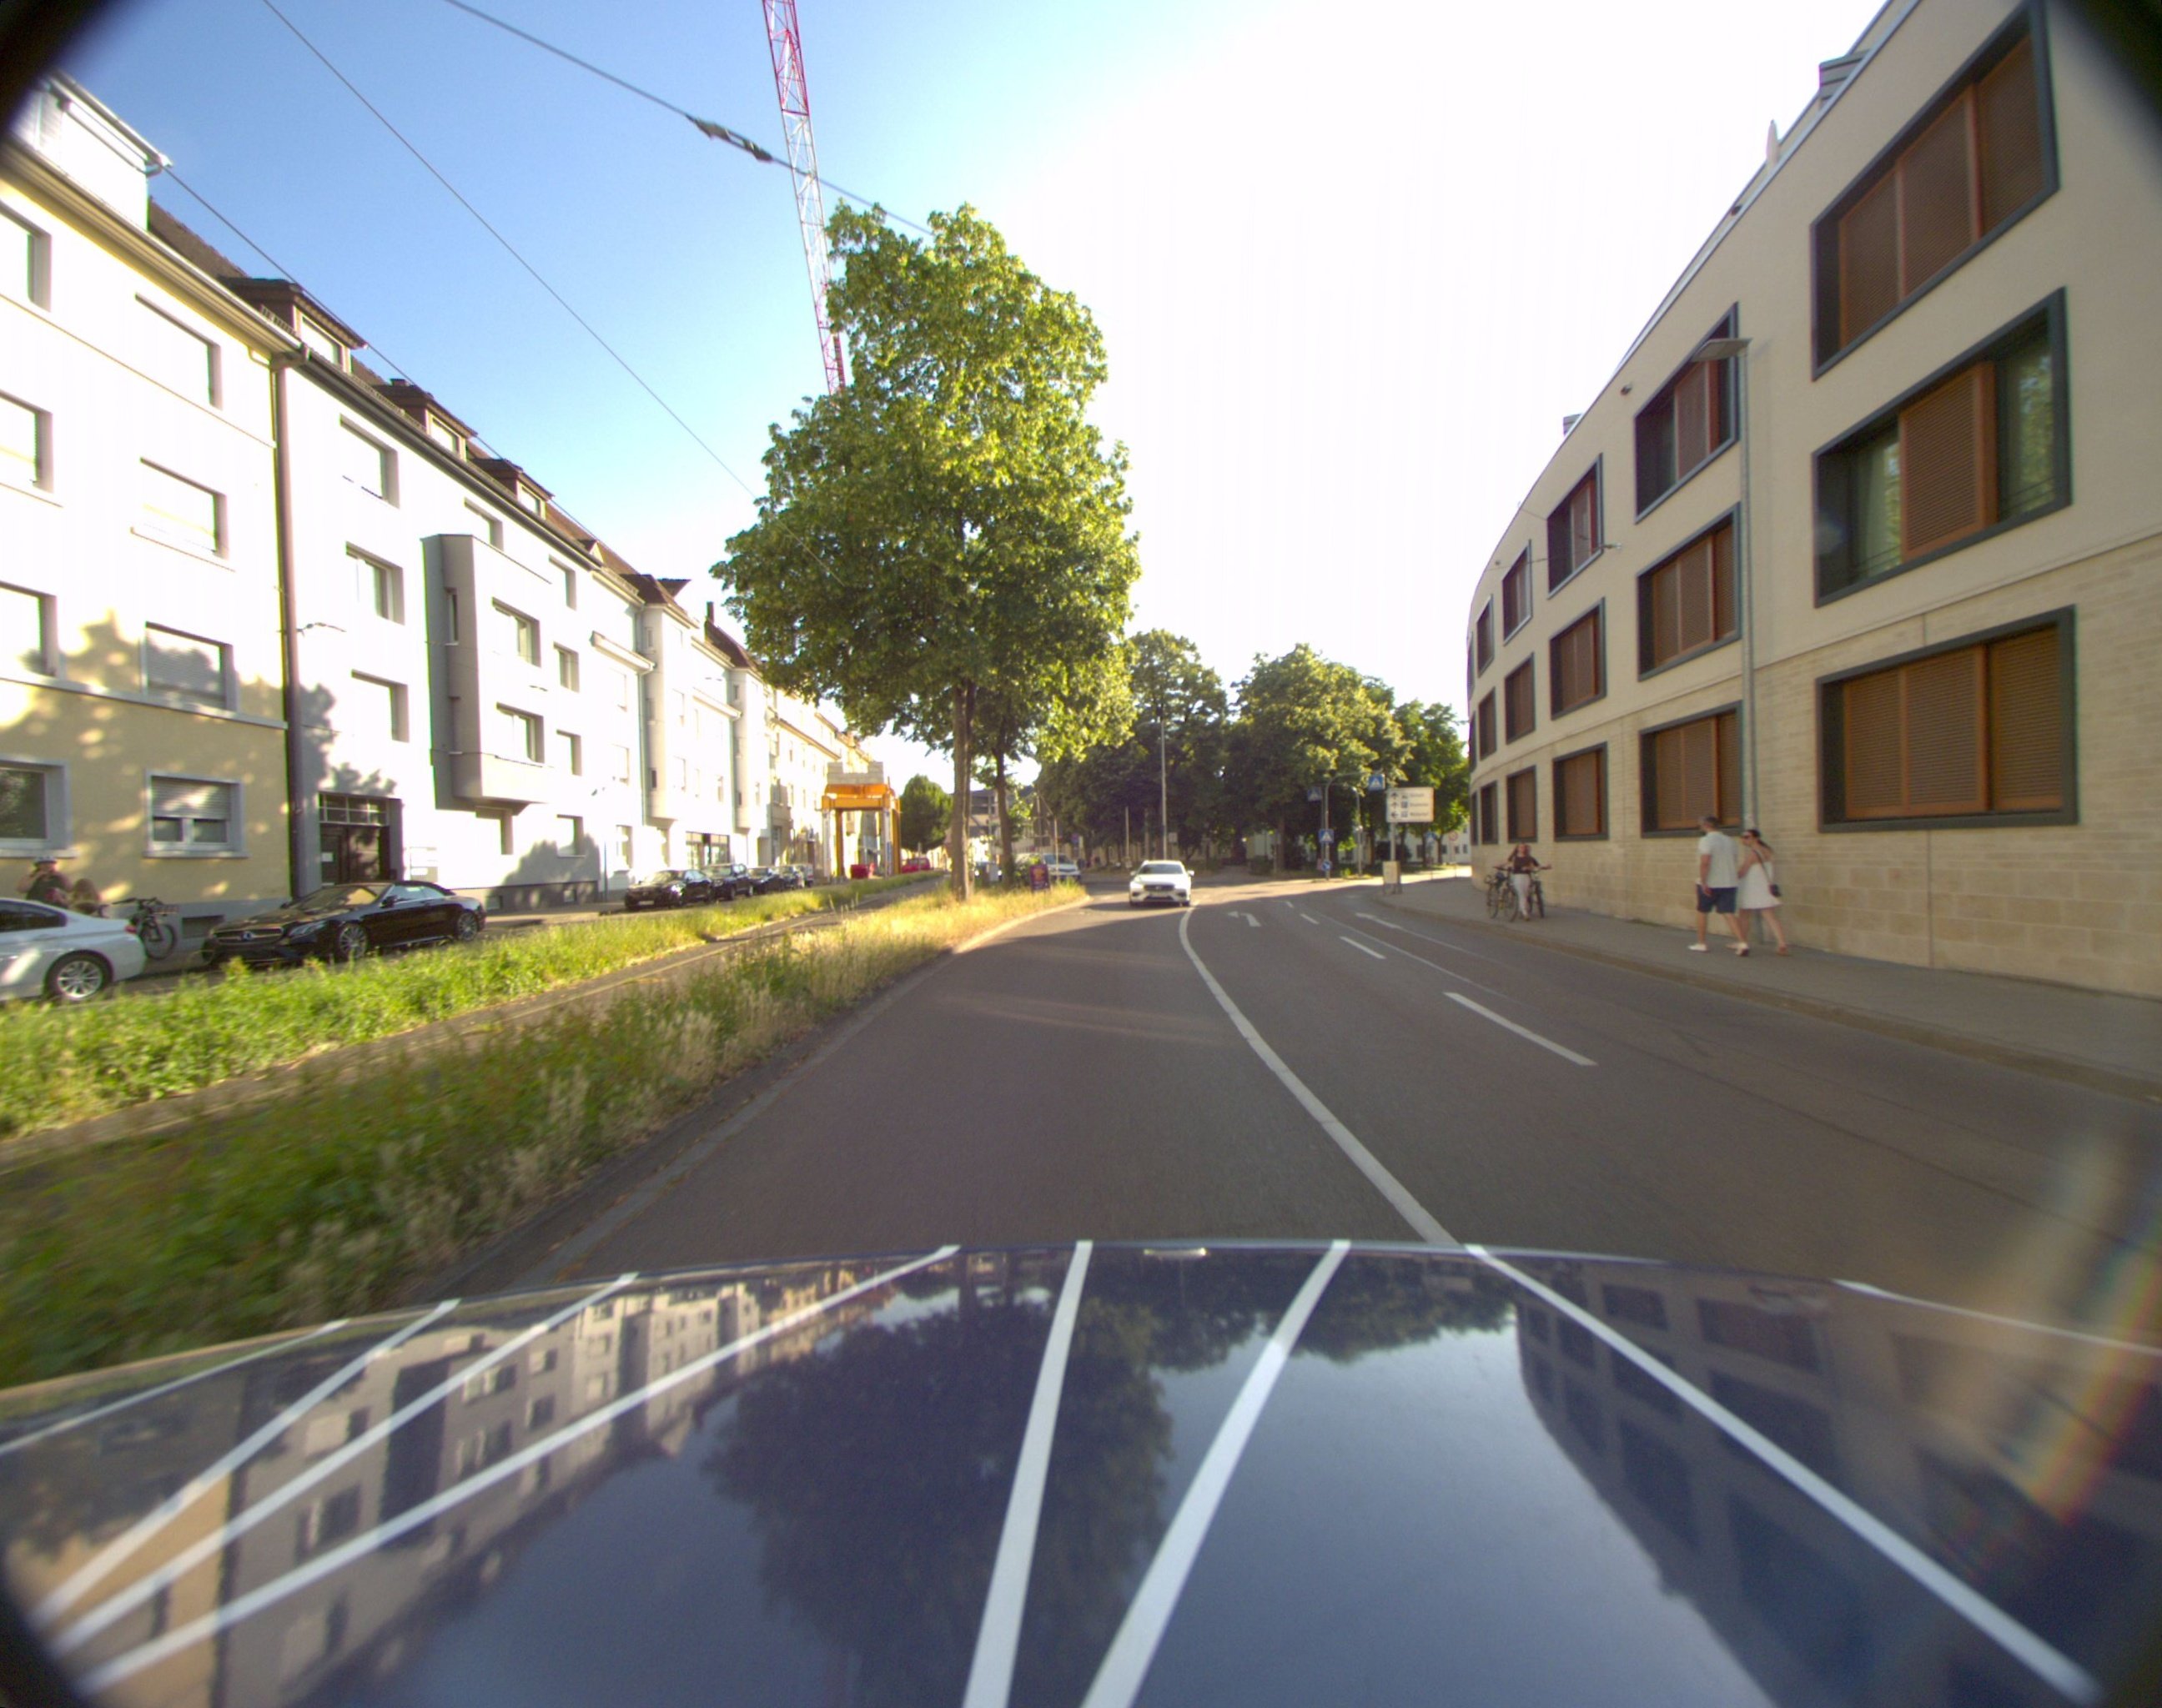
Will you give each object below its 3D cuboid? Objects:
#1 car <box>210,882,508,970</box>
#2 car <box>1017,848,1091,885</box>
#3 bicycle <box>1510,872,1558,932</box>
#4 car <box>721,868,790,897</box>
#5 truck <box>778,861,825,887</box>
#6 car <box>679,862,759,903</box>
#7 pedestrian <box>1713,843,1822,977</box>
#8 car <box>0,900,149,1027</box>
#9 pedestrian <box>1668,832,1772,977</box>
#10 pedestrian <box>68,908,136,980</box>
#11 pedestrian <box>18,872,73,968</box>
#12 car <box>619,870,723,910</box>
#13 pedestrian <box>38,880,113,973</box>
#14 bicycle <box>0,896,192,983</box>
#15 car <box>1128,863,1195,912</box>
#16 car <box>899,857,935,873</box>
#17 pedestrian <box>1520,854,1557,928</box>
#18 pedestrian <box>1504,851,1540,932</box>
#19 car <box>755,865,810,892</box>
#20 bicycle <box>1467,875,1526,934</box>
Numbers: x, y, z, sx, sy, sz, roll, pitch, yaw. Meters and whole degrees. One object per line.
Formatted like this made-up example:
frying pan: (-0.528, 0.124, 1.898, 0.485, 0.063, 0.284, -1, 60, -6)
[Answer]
car: (-13.766, 1.280, 14.965, 2.000, 1.378, 4.444, 0, -1, -7)
car: (-1.535, 0.679, 41.240, 2.003, 1.843, 4.891, 0, -1, -29)
bicycle: (9.512, 0.981, 15.992, 0.376, 1.160, 1.840, -3, -1, 17)
car: (-16.602, 1.414, 38.993, 1.999, 1.378, 4.208, 0, -1, -5)
truck: (-18.059, 1.280, 49.274, 2.000, 1.576, 4.095, 0, -1, -7)
car: (-16.051, 1.225, 33.938, 2.000, 1.738, 4.207, 0, -1, -7)
pedestrian: (9.128, 0.723, 10.136, 0.704, 1.704, 0.843, -1, 1, 7)
car: (-13.279, 1.275, 7.905, 2.000, 1.378, 4.444, 0, -1, -7)
pedestrian: (8.512, 0.646, 10.162, 0.606, 1.838, 0.993, -1, 1, 7)
pedestrian: (-15.236, 1.392, 11.829, 0.432, 1.059, 0.461, -1, 0, -6)
pedestrian: (-16.566, 1.043, 12.164, 0.305, 1.506, 0.443, 0, 0, -14)
car: (-15.388, 1.301, 28.826, 2.000, 1.378, 4.444, 0, -1, -7)
pedestrian: (-15.916, 1.135, 12.041, 0.525, 1.432, 0.461, -1, 0, -6)
bicycle: (-15.874, 1.315, 12.276, 0.536, 1.125, 2.306, 0, 1, -7)
car: (2.753, 1.051, 25.100, 1.852, 1.455, 4.777, 0, -1, 10)
car: (-19.303, 1.265, 89.561, 4.072, 1.909, 1.999, 0, -1, -9)
pedestrian: (9.870, 0.784, 16.414, 0.474, 1.555, 0.603, -3, -1, 18)
pedestrian: (9.191, 0.775, 15.855, 0.474, 1.637, 0.603, -3, -1, 18)
car: (-17.175, 1.383, 43.945, 2.000, 1.444, 4.095, 0, -1, -7)
bicycle: (8.809, 1.037, 16.180, 0.441, 1.171, 1.969, -1, -1, 9)
